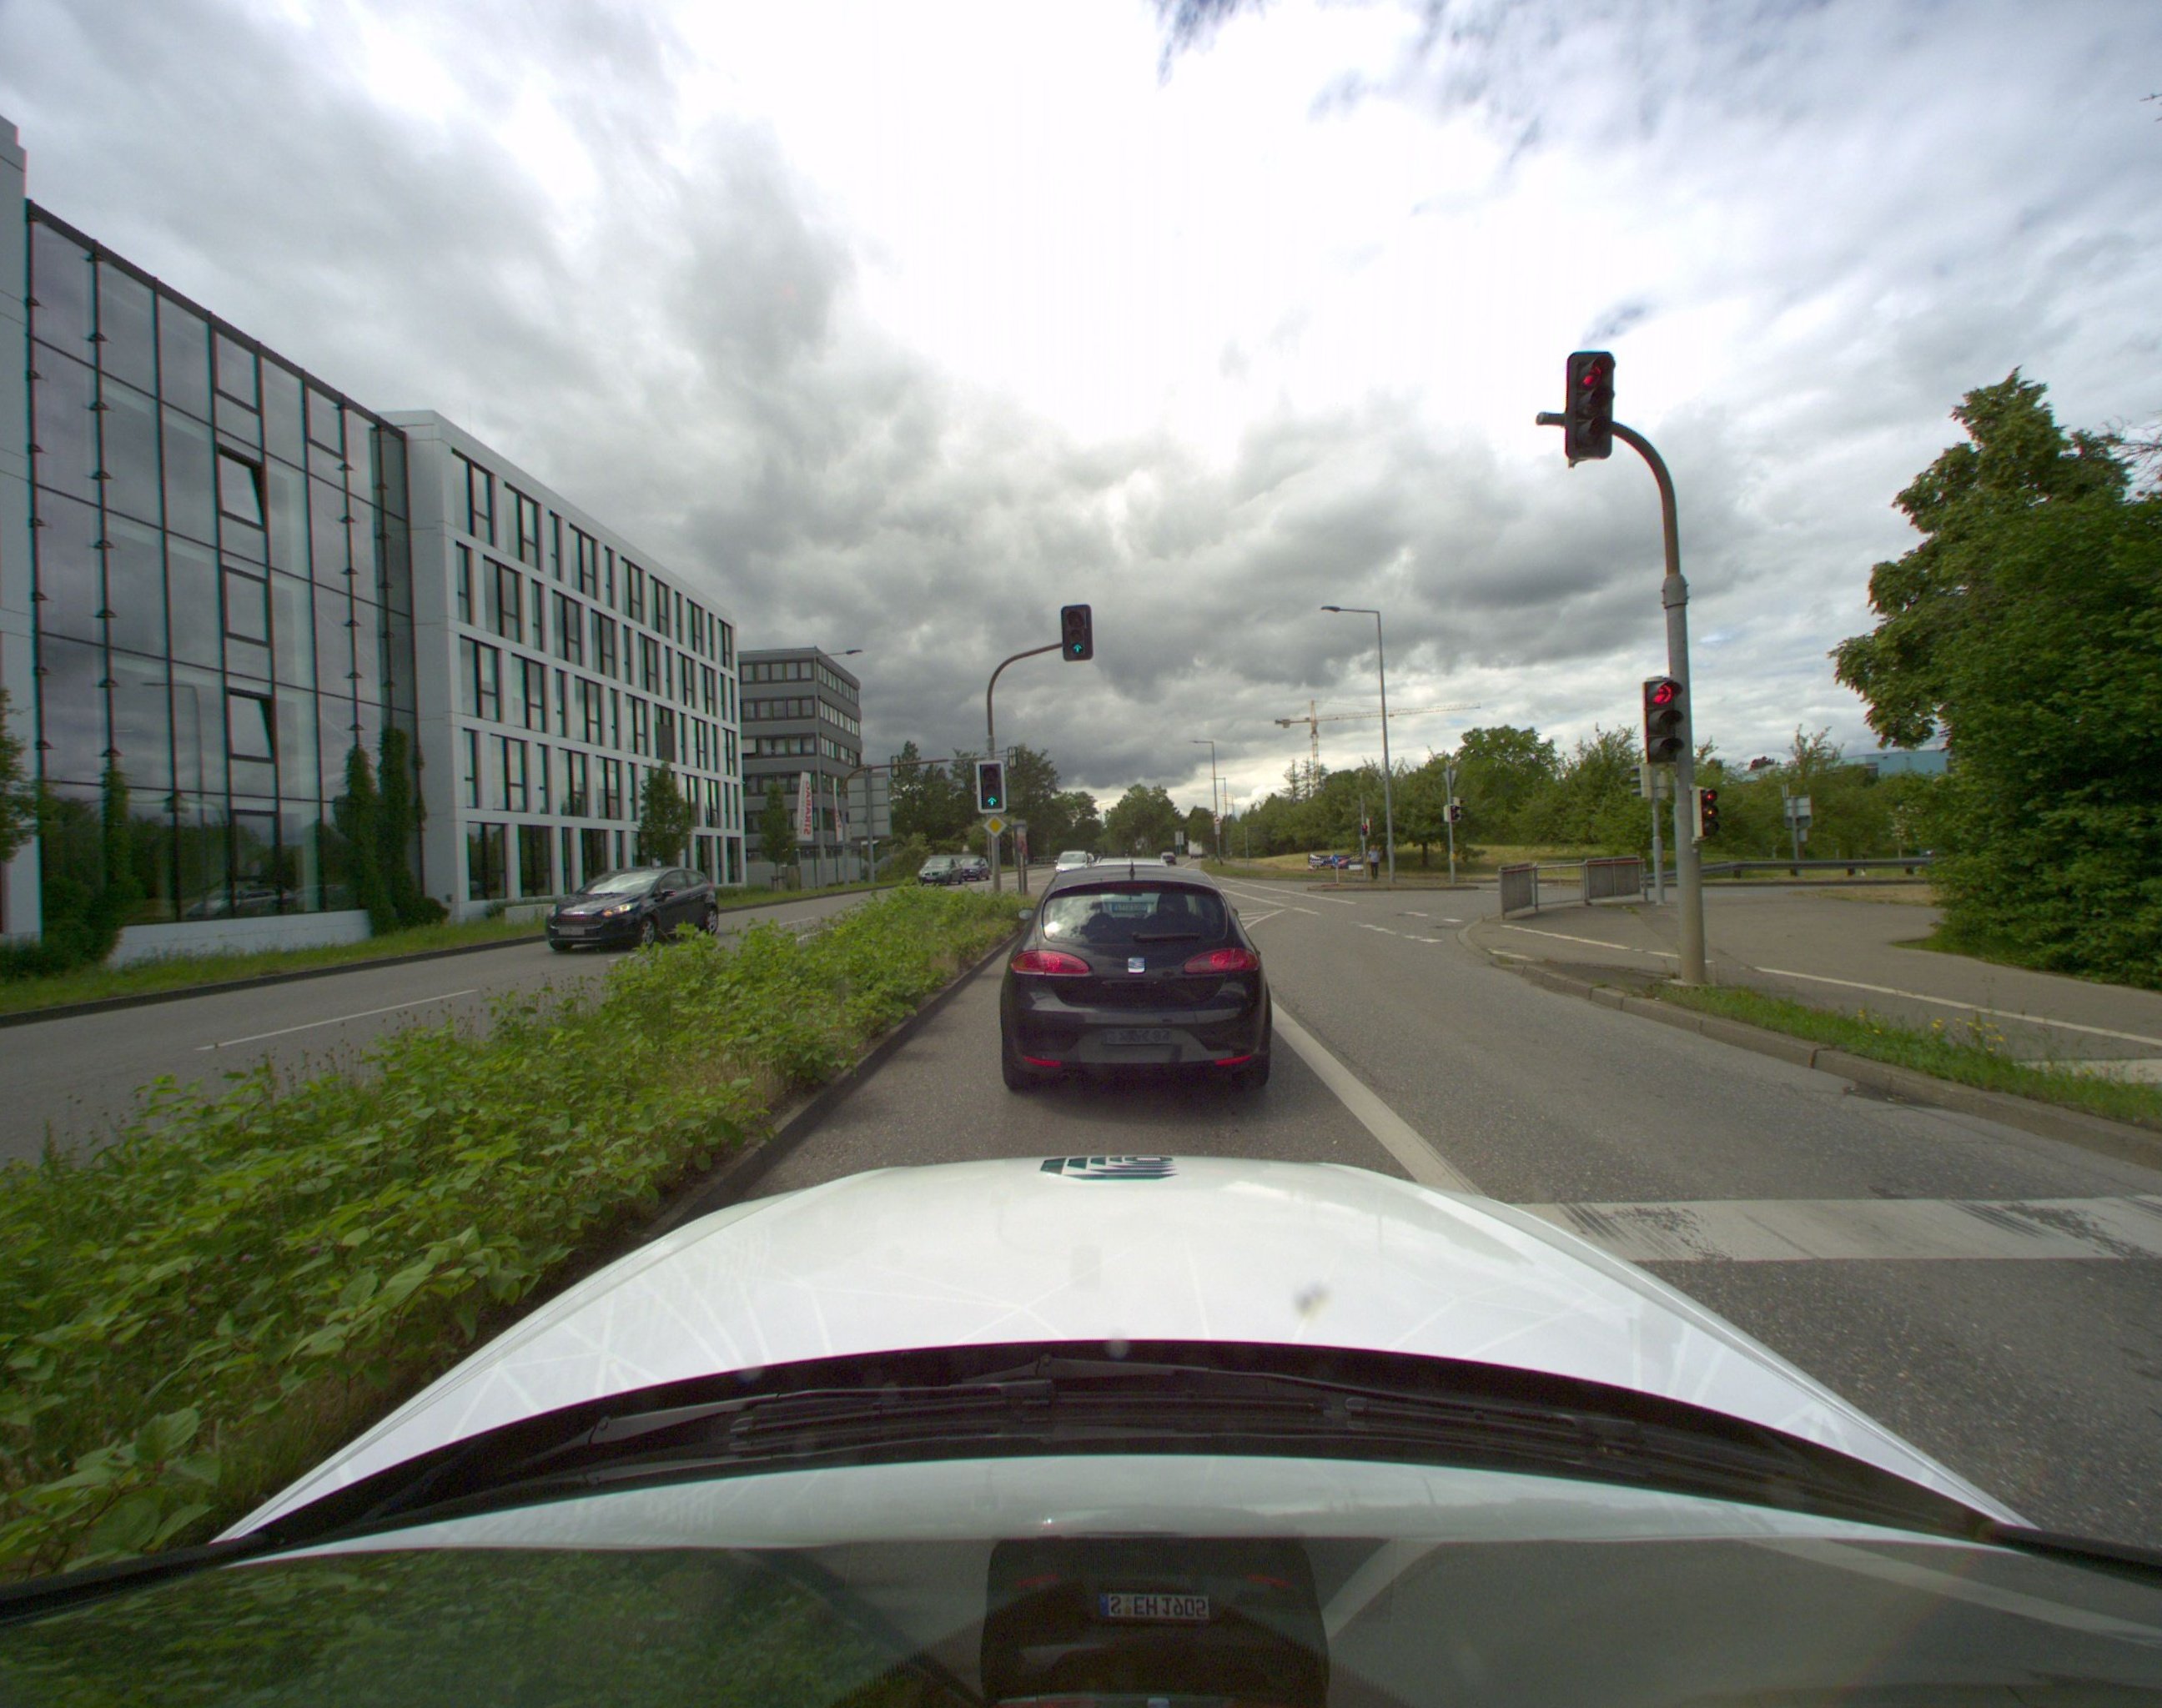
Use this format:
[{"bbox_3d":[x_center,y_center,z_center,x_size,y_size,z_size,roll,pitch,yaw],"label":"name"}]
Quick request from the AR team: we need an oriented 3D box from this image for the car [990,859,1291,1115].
[{"bbox_3d":[0.399,0.772,6.385,1.704,1.417,3.461,-1,0,2],"label":"car"}]

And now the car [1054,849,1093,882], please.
[{"bbox_3d":[-0.368,0.596,45.643,1.812,1.686,4.650,-1,0,4],"label":"car"}]

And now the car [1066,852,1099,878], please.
[{"bbox_3d":[0.144,0.649,51.678,1.652,1.518,4.091,-1,0,6],"label":"car"}]

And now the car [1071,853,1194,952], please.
[{"bbox_3d":[0.873,0.740,14.065,1.827,1.467,3.754,0,-1,3],"label":"car"}]

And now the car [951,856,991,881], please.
[{"bbox_3d":[-6.674,0.856,49.750,1.546,1.419,3.902,-1,0,5],"label":"car"}]

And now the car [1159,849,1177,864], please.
[{"bbox_3d":[9.753,0.251,91.725,1.984,1.565,4.478,-1,0,5],"label":"car"}]

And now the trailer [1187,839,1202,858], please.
[{"bbox_3d":[19.345,-0.851,138.460,2.477,3.073,5.600,-1,-1,9],"label":"trailer"}]

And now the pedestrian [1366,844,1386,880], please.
[{"bbox_3d":[15.077,0.405,41.630,0.714,1.793,1.045,-1,-1,5],"label":"pedestrian"}]

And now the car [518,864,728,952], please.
[{"bbox_3d":[-8.556,0.940,15.667,1.748,1.446,3.893,0,0,2],"label":"car"}]

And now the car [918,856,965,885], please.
[{"bbox_3d":[-7.320,0.851,43.051,1.598,1.432,3.757,-1,0,4],"label":"car"}]
